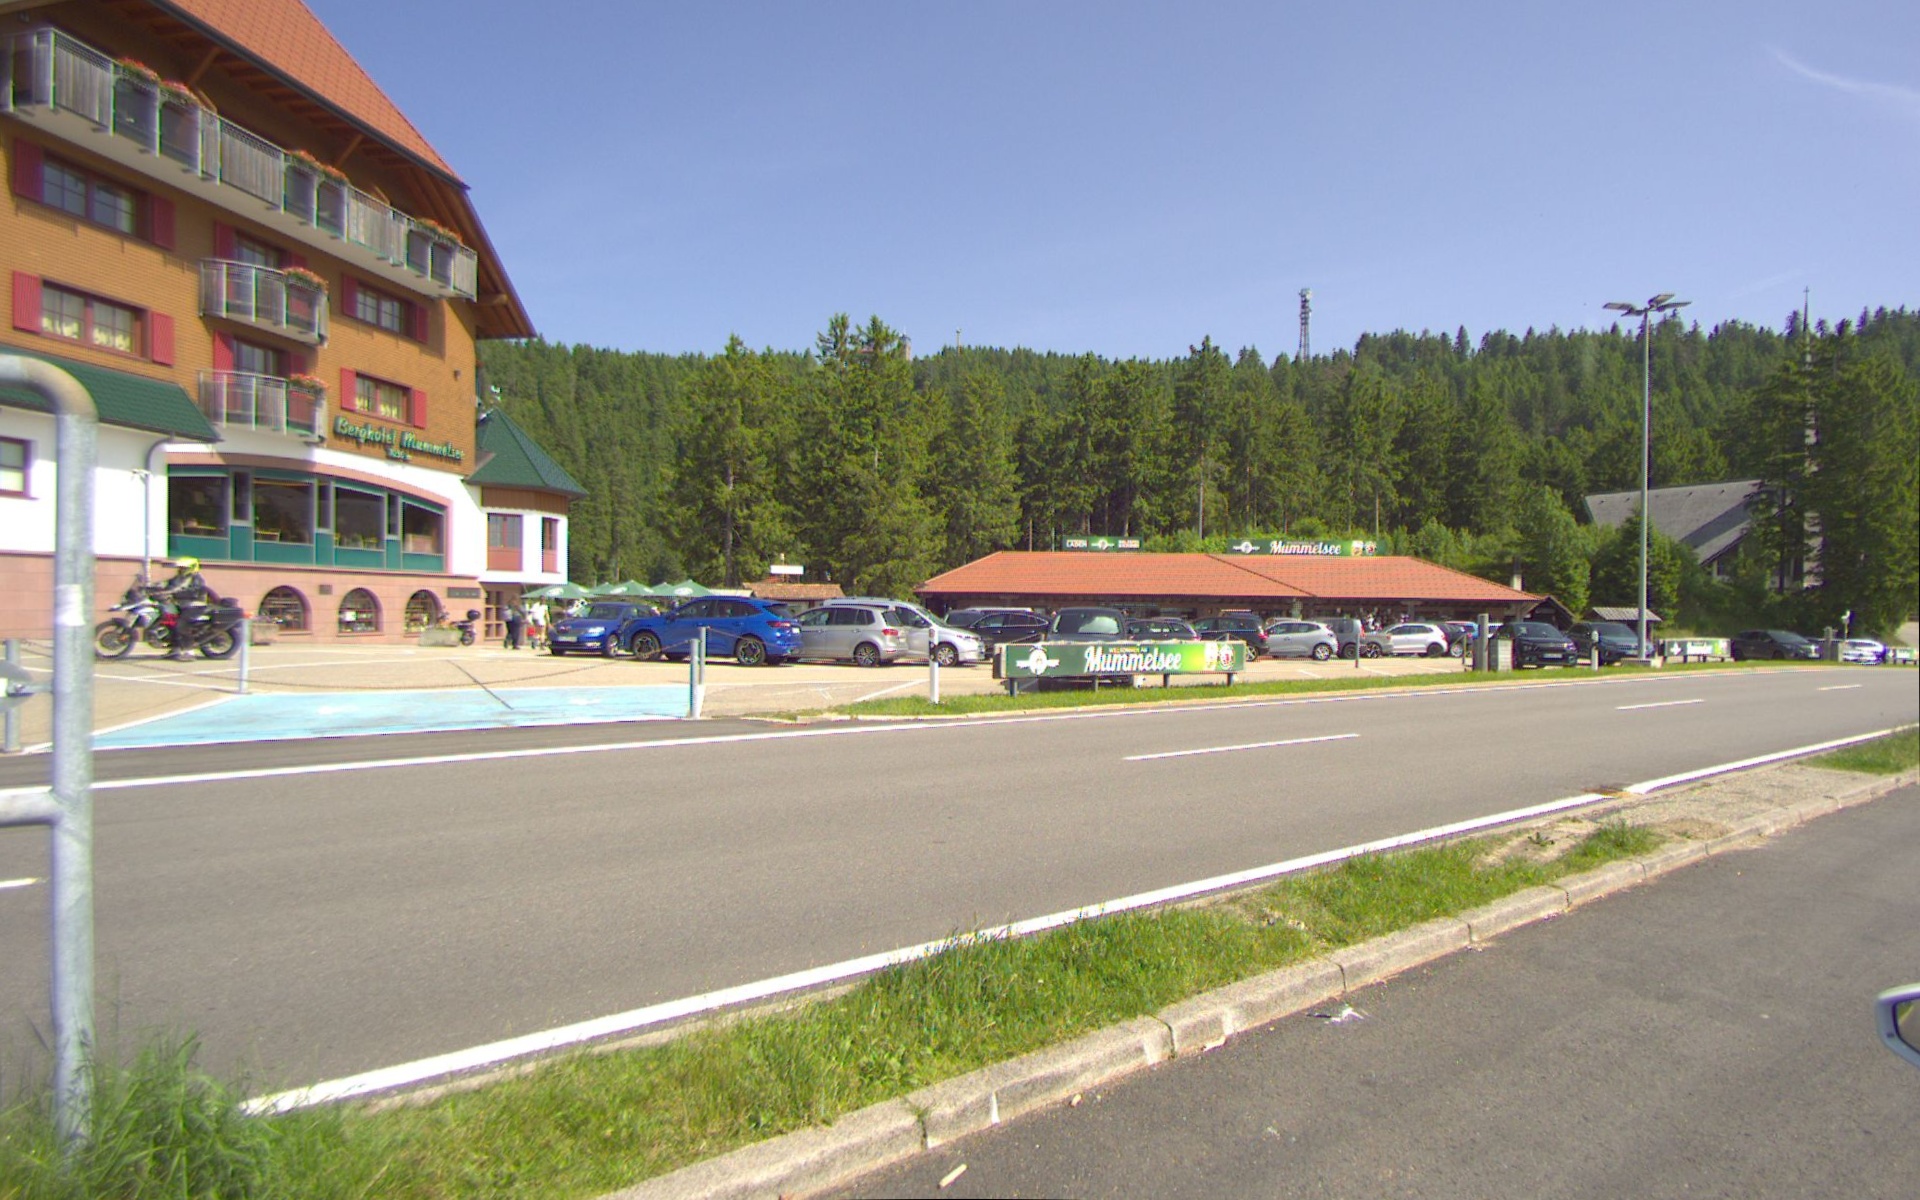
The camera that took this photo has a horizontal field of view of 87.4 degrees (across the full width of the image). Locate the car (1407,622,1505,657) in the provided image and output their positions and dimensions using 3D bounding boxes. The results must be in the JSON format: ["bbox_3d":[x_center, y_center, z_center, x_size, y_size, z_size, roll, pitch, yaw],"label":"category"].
[{"bbox_3d":[24.317,1.938,49.388,3.949,1.694,1.778,0,-2,8],"label":"car"}]

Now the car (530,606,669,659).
[{"bbox_3d":[-9.475,0.820,26.748,1.679,1.314,4.003,0,-1,11],"label":"car"}]

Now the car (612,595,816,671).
[{"bbox_3d":[-6.021,0.777,24.794,4.453,1.686,1.941,1,0,9],"label":"car"}]

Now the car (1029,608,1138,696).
[{"bbox_3d":[2.566,0.945,20.023,1.771,1.561,4.195,0,-1,12],"label":"car"}]

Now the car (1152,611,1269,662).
[{"bbox_3d":[8.900,1.256,35.780,3.919,1.726,1.827,0,0,14],"label":"car"}]

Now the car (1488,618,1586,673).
[{"bbox_3d":[18.315,1.392,32.056,1.747,1.572,4.002,0,0,15],"label":"car"}]

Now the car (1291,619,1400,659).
[{"bbox_3d":[15.882,1.595,41.580,3.919,1.565,1.900,0,0,10],"label":"car"}]

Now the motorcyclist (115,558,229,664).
[{"bbox_3d":[-13.735,0.189,17.522,1.046,1.742,1.245,4,1,33],"label":"motorcyclist"}]

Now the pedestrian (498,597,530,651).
[{"bbox_3d":[-13.818,0.741,31.130,0.613,1.654,0.703,0,0,17],"label":"pedestrian"}]

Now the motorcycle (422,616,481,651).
[{"bbox_3d":[-17.141,1.113,33.863,1.755,0.999,0.480,4,6,1],"label":"motorcycle"}]

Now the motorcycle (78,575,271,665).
[{"bbox_3d":[-13.684,0.355,17.587,0.989,1.425,2.438,4,1,33],"label":"motorcycle"}]

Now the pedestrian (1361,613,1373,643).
[{"bbox_3d":[25.813,1.753,63.747,0.517,1.898,0.547,2,0,7],"label":"pedestrian"}]

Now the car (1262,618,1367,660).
[{"bbox_3d":[13.946,1.519,39.706,3.657,1.609,1.736,0,0,10],"label":"car"}]

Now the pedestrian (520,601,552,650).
[{"bbox_3d":[-13.070,0.780,30.968,0.613,1.509,0.703,0,0,17],"label":"pedestrian"}]

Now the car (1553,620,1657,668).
[{"bbox_3d":[23.259,1.542,36.384,1.705,1.588,4.062,1,0,10],"label":"car"}]

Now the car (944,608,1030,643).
[{"bbox_3d":[1.284,1.157,46.205,3.802,1.550,1.911,0,0,7],"label":"car"}]

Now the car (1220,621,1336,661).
[{"bbox_3d":[11.826,1.506,37.587,3.919,1.389,1.813,0,-1,9],"label":"car"}]

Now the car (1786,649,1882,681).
[{"bbox_3d":[43.941,3.242,50.617,1.708,1.460,3.973,0,-1,8],"label":"car"}]

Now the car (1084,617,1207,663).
[{"bbox_3d":[6.249,1.332,34.061,3.996,1.506,1.717,0,0,9],"label":"car"}]

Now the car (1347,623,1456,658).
[{"bbox_3d":[18.912,1.730,43.182,3.919,1.439,1.909,0,-1,9],"label":"car"}]

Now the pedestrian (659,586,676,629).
[{"bbox_3d":[-16.078,0.412,55.146,0.803,2.314,0.728,-2,0,-19],"label":"pedestrian"}]

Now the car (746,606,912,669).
[{"bbox_3d":[-3.424,0.957,26.626,3.919,1.566,2.001,0,-1,11],"label":"car"}]

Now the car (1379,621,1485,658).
[{"bbox_3d":[21.135,1.761,45.157,3.919,1.595,2.001,0,-1,9],"label":"car"}]

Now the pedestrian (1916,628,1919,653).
[{"bbox_3d":[65.500,2.771,68.296,0.638,1.688,0.646,4,-2,-42],"label":"pedestrian"}]

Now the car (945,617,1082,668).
[{"bbox_3d":[1.652,1.240,30.090,3.919,1.449,1.915,0,-1,9],"label":"car"}]

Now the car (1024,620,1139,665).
[{"bbox_3d":[3.883,1.339,32.154,3.565,1.339,1.589,0,0,7],"label":"car"}]

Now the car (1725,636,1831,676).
[{"bbox_3d":[38.715,2.608,47.701,1.753,1.655,4.213,2,-1,4],"label":"car"}]

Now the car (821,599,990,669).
[{"bbox_3d":[-1.511,0.924,28.378,4.438,1.888,1.836,0,0,12],"label":"car"}]
